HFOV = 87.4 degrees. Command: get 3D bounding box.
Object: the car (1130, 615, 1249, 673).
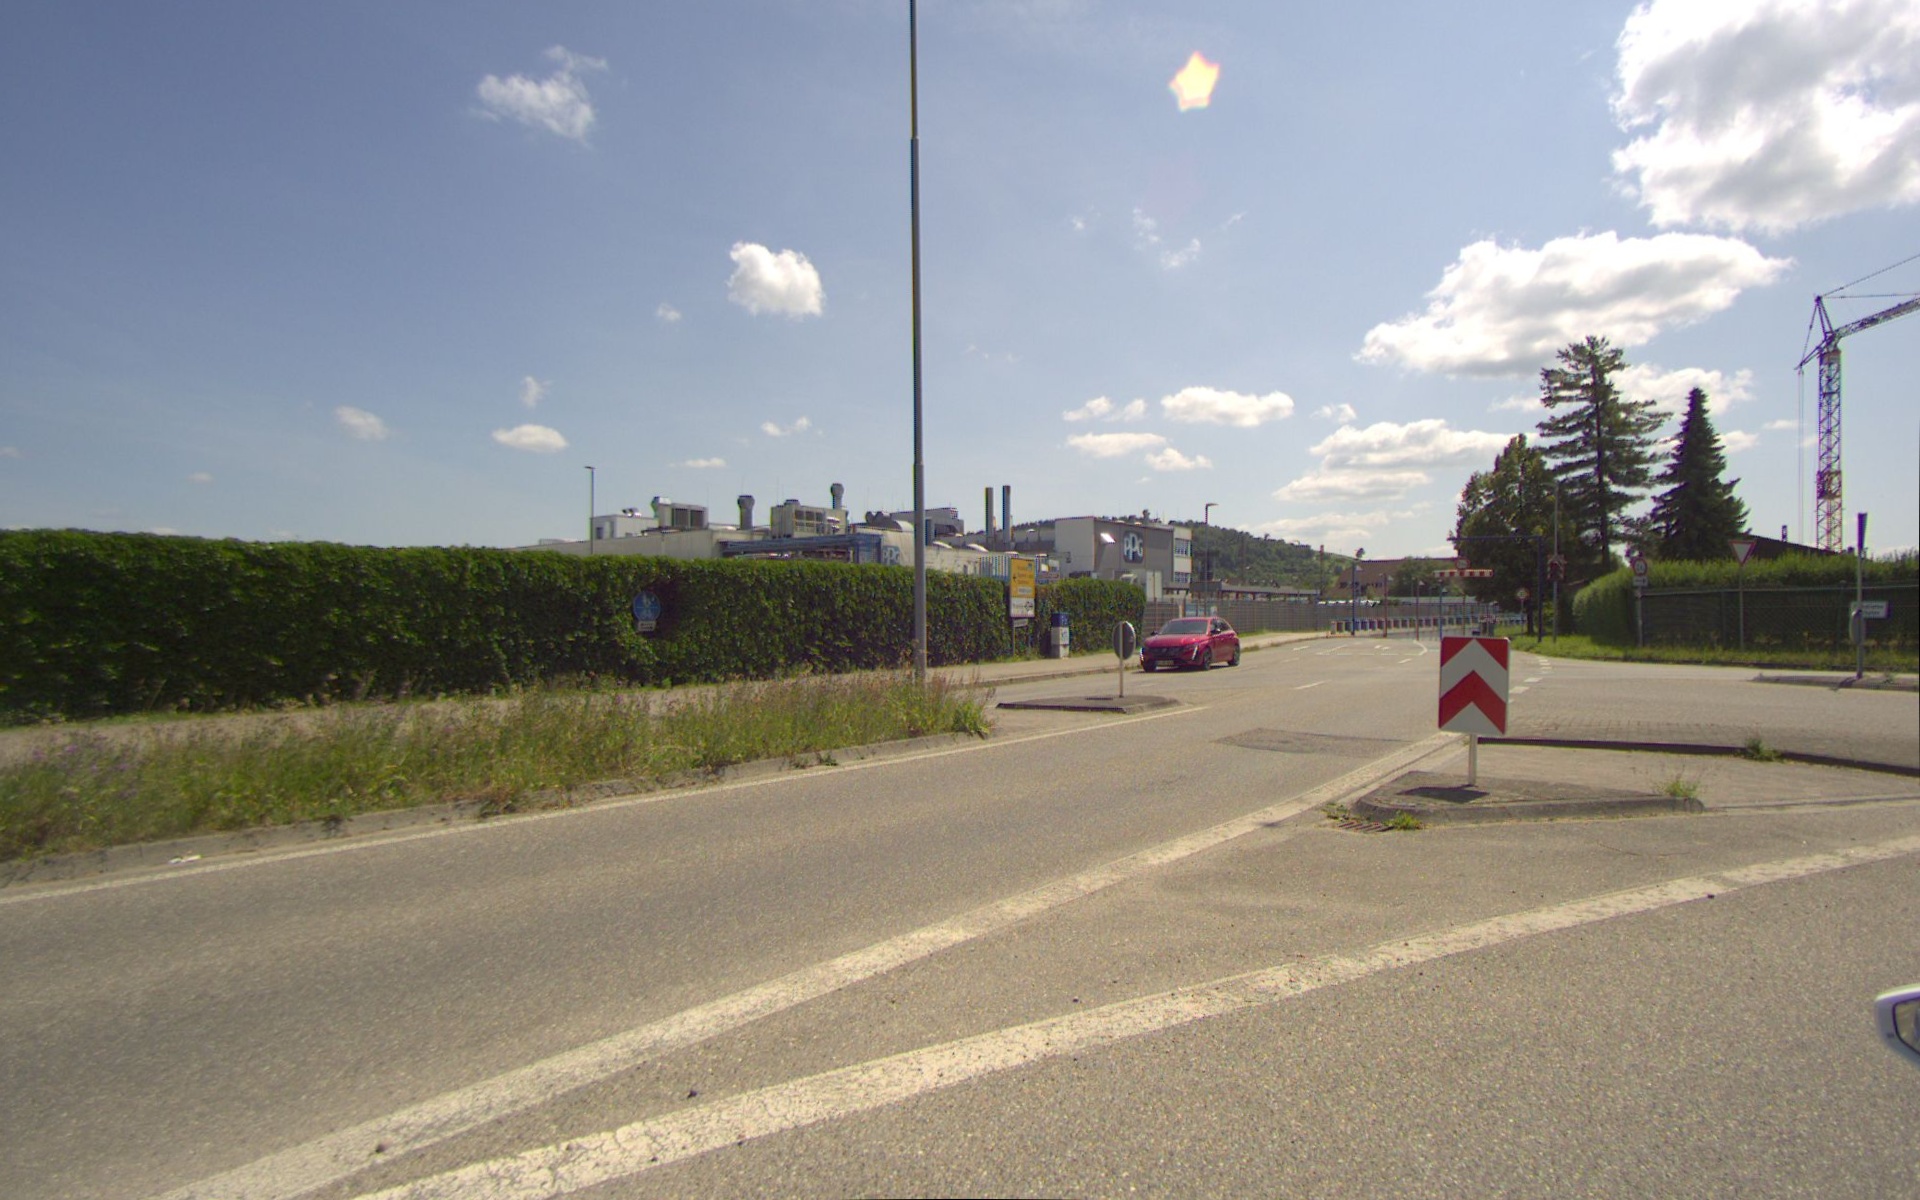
[{"bbox_3d":[6.514,1.177,28.113,1.854,1.483,4.375,-2,-2,33],"label":"car"}]
